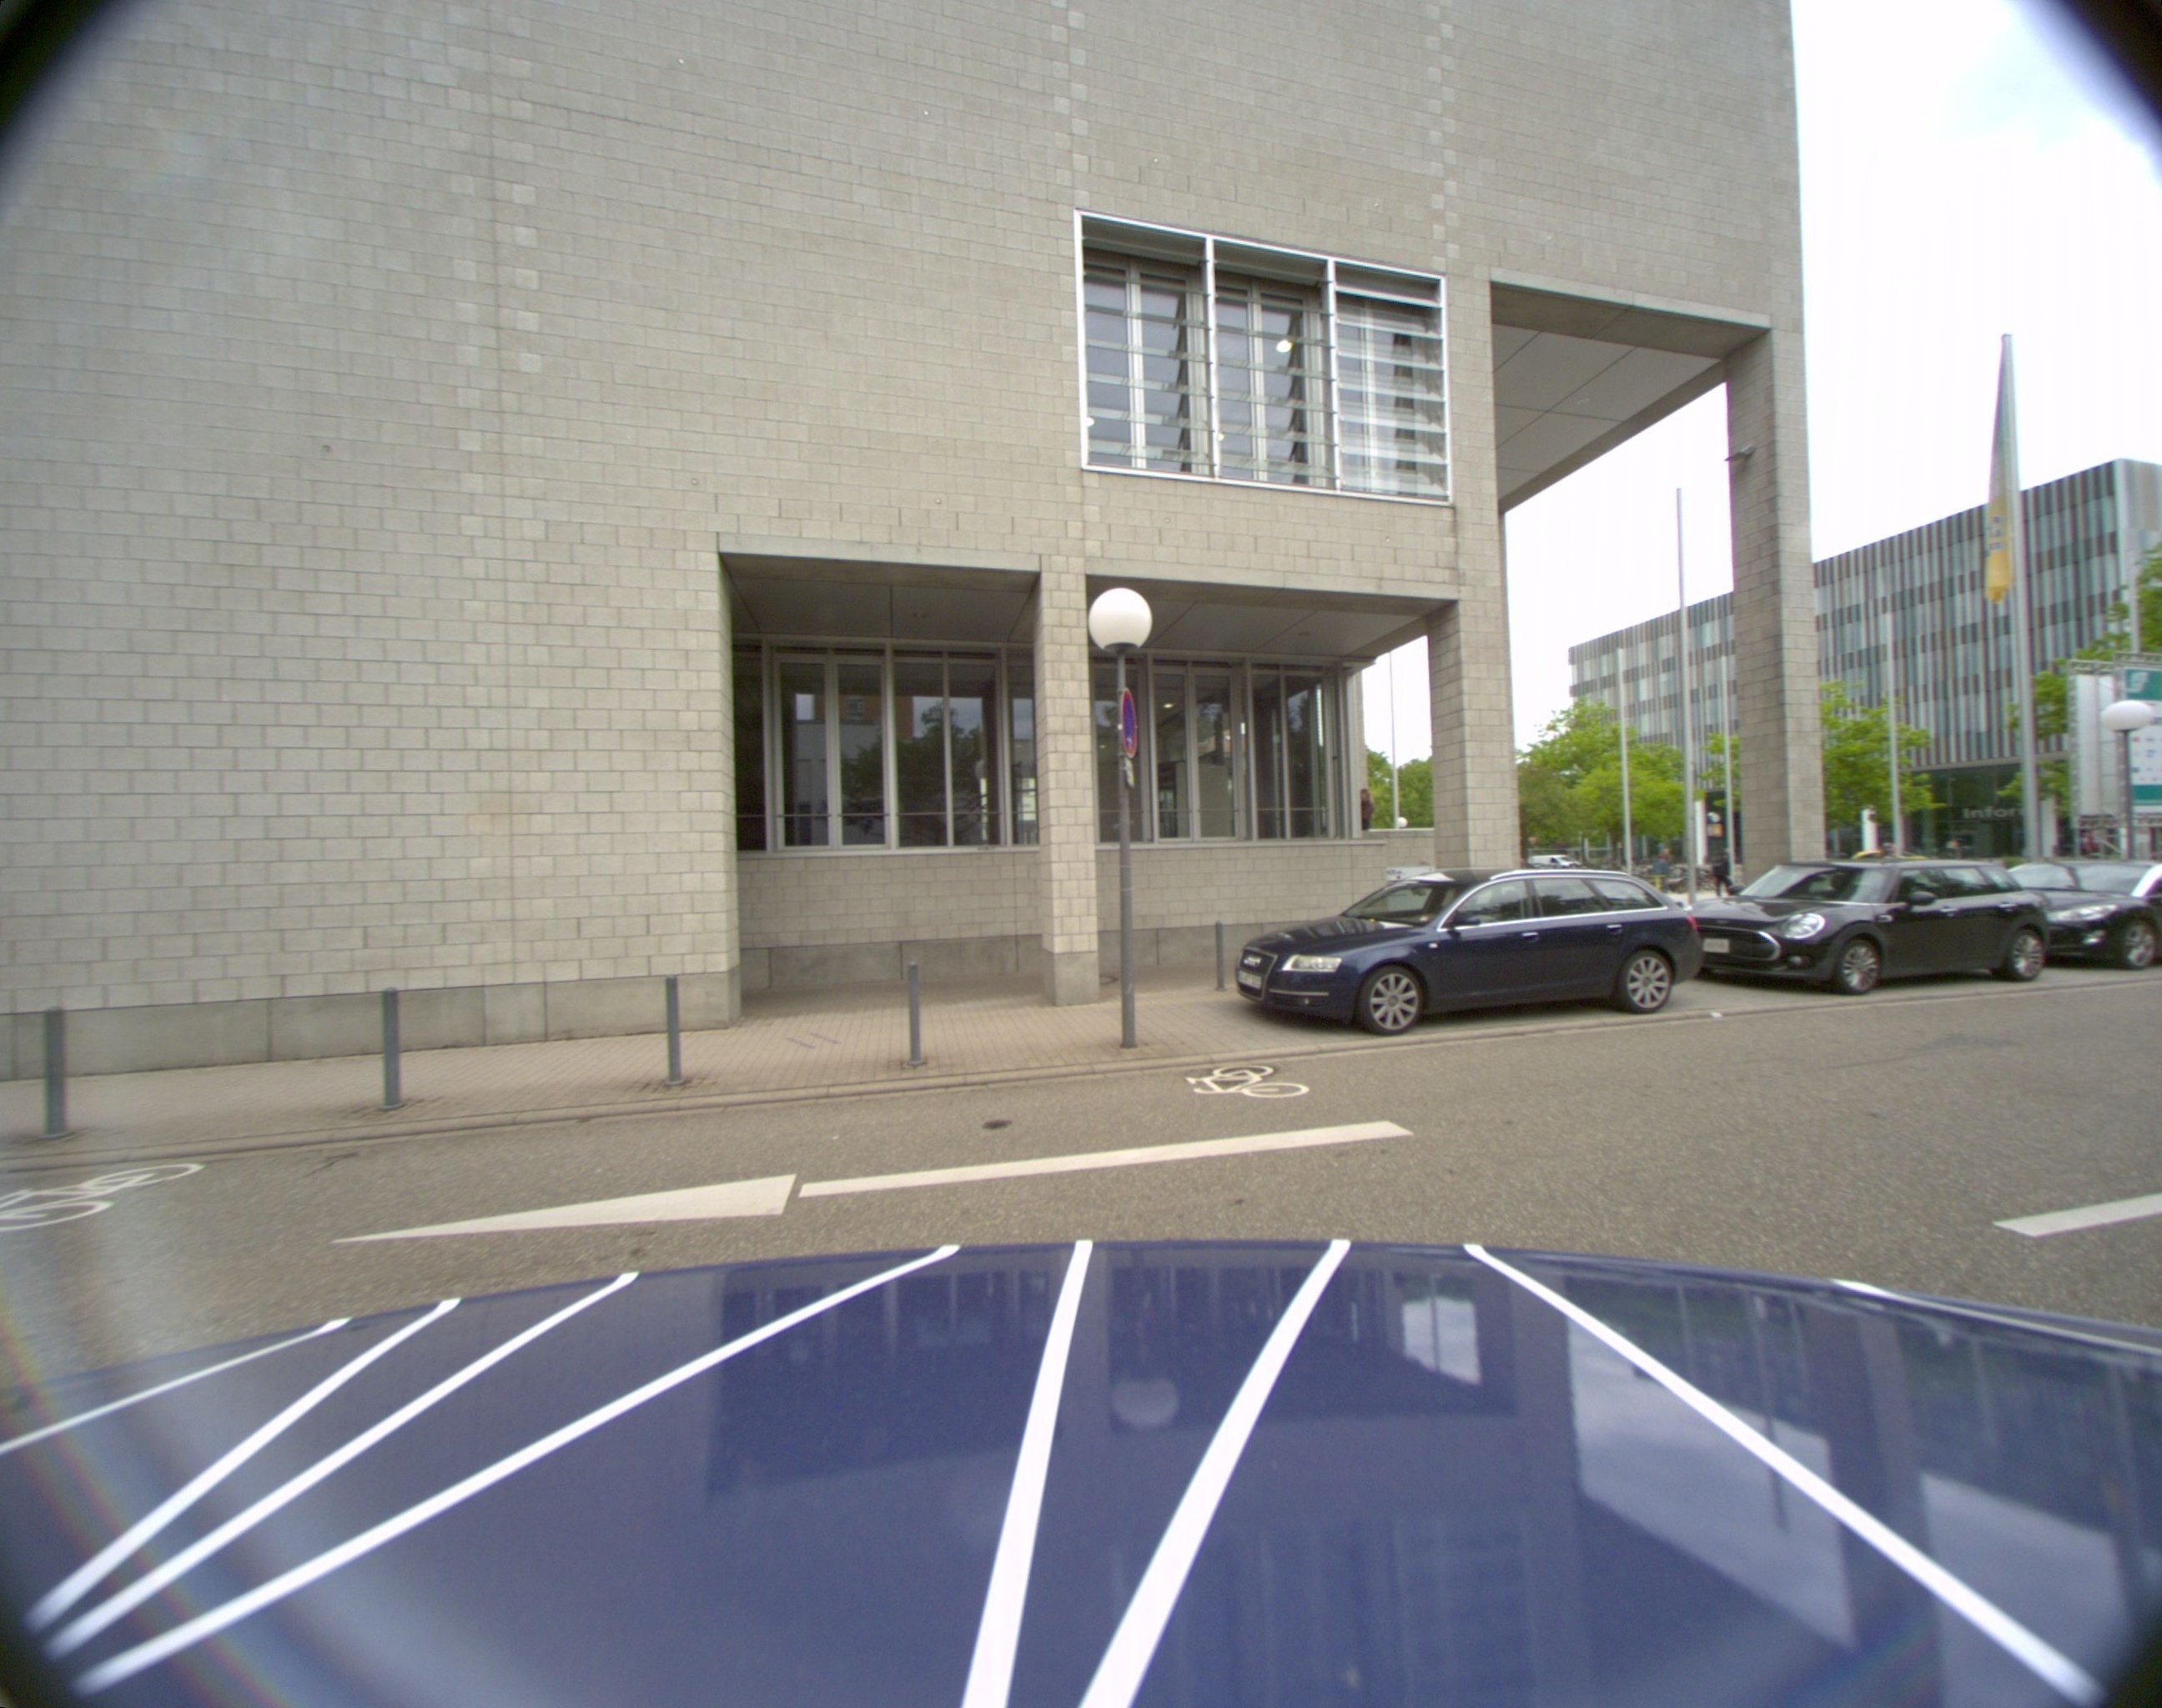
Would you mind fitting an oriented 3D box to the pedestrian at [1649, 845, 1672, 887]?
[{"bbox_3d":[25.525,0.516,33.471,0.672,1.822,0.512,-2,0,27],"label":"pedestrian"}]

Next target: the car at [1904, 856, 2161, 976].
[{"bbox_3d":[14.195,0.759,10.485,4.420,1.433,1.853,0,-1,-12],"label":"car"}]

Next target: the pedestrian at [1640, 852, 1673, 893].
[{"bbox_3d":[24.572,0.794,32.456,0.970,1.694,0.850,-2,1,-36],"label":"pedestrian"}]

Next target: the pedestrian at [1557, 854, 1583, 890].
[{"bbox_3d":[19.791,0.740,30.768,0.771,1.405,0.671,-2,0,-45],"label":"pedestrian"}]

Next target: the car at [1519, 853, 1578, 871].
[{"bbox_3d":[45.575,0.799,74.245,2.001,1.652,4.835,-2,-1,-15],"label":"car"}]

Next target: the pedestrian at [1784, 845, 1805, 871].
[{"bbox_3d":[57.842,0.330,61.600,1.002,2.001,0.854,-1,-1,-24],"label":"pedestrian"}]

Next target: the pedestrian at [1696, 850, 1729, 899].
[{"bbox_3d":[22.013,0.728,26.491,0.707,1.659,0.756,1,-3,-44],"label":"pedestrian"}]

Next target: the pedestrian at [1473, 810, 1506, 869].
[{"bbox_3d":[12.490,-0.438,23.230,0.693,1.701,0.911,1,-4,15],"label":"pedestrian"}]

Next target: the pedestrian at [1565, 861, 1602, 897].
[{"bbox_3d":[20.684,1.038,31.294,0.970,1.412,0.851,-2,0,-24],"label":"pedestrian"}]

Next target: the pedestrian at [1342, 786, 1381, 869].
[{"bbox_3d":[5.800,-0.532,15.765,0.630,1.648,0.808,0,-2,12],"label":"pedestrian"}]

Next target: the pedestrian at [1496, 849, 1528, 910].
[{"bbox_3d":[12.469,0.739,21.984,0.646,1.702,0.783,-4,-2,24],"label":"pedestrian"}]

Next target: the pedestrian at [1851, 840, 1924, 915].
[{"bbox_3d":[18.130,0.538,17.094,0.932,1.630,0.736,1,-2,-16],"label":"pedestrian"}]

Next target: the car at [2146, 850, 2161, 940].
[{"bbox_3d":[19.198,0.570,11.833,4.379,1.403,1.698,-2,0,-17],"label":"car"}]

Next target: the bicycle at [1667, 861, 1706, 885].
[{"bbox_3d":[28.730,0.898,36.044,1.937,1.043,0.456,-1,0,-18],"label":"bicycle"}]

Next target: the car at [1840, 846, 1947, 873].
[{"bbox_3d":[51.711,0.364,48.503,2.001,1.608,4.190,-2,-1,-14],"label":"car"}]

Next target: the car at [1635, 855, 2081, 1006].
[{"bbox_3d":[9.441,0.796,9.322,4.522,1.435,1.821,-2,1,-14],"label":"car"}]

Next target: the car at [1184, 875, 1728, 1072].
[{"bbox_3d":[3.774,1.048,7.937,4.924,1.443,1.998,-2,0,-13],"label":"car"}]

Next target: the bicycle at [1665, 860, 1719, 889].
[{"bbox_3d":[25.224,0.849,31.343,2.416,1.162,0.456,1,-2,-18],"label":"bicycle"}]
